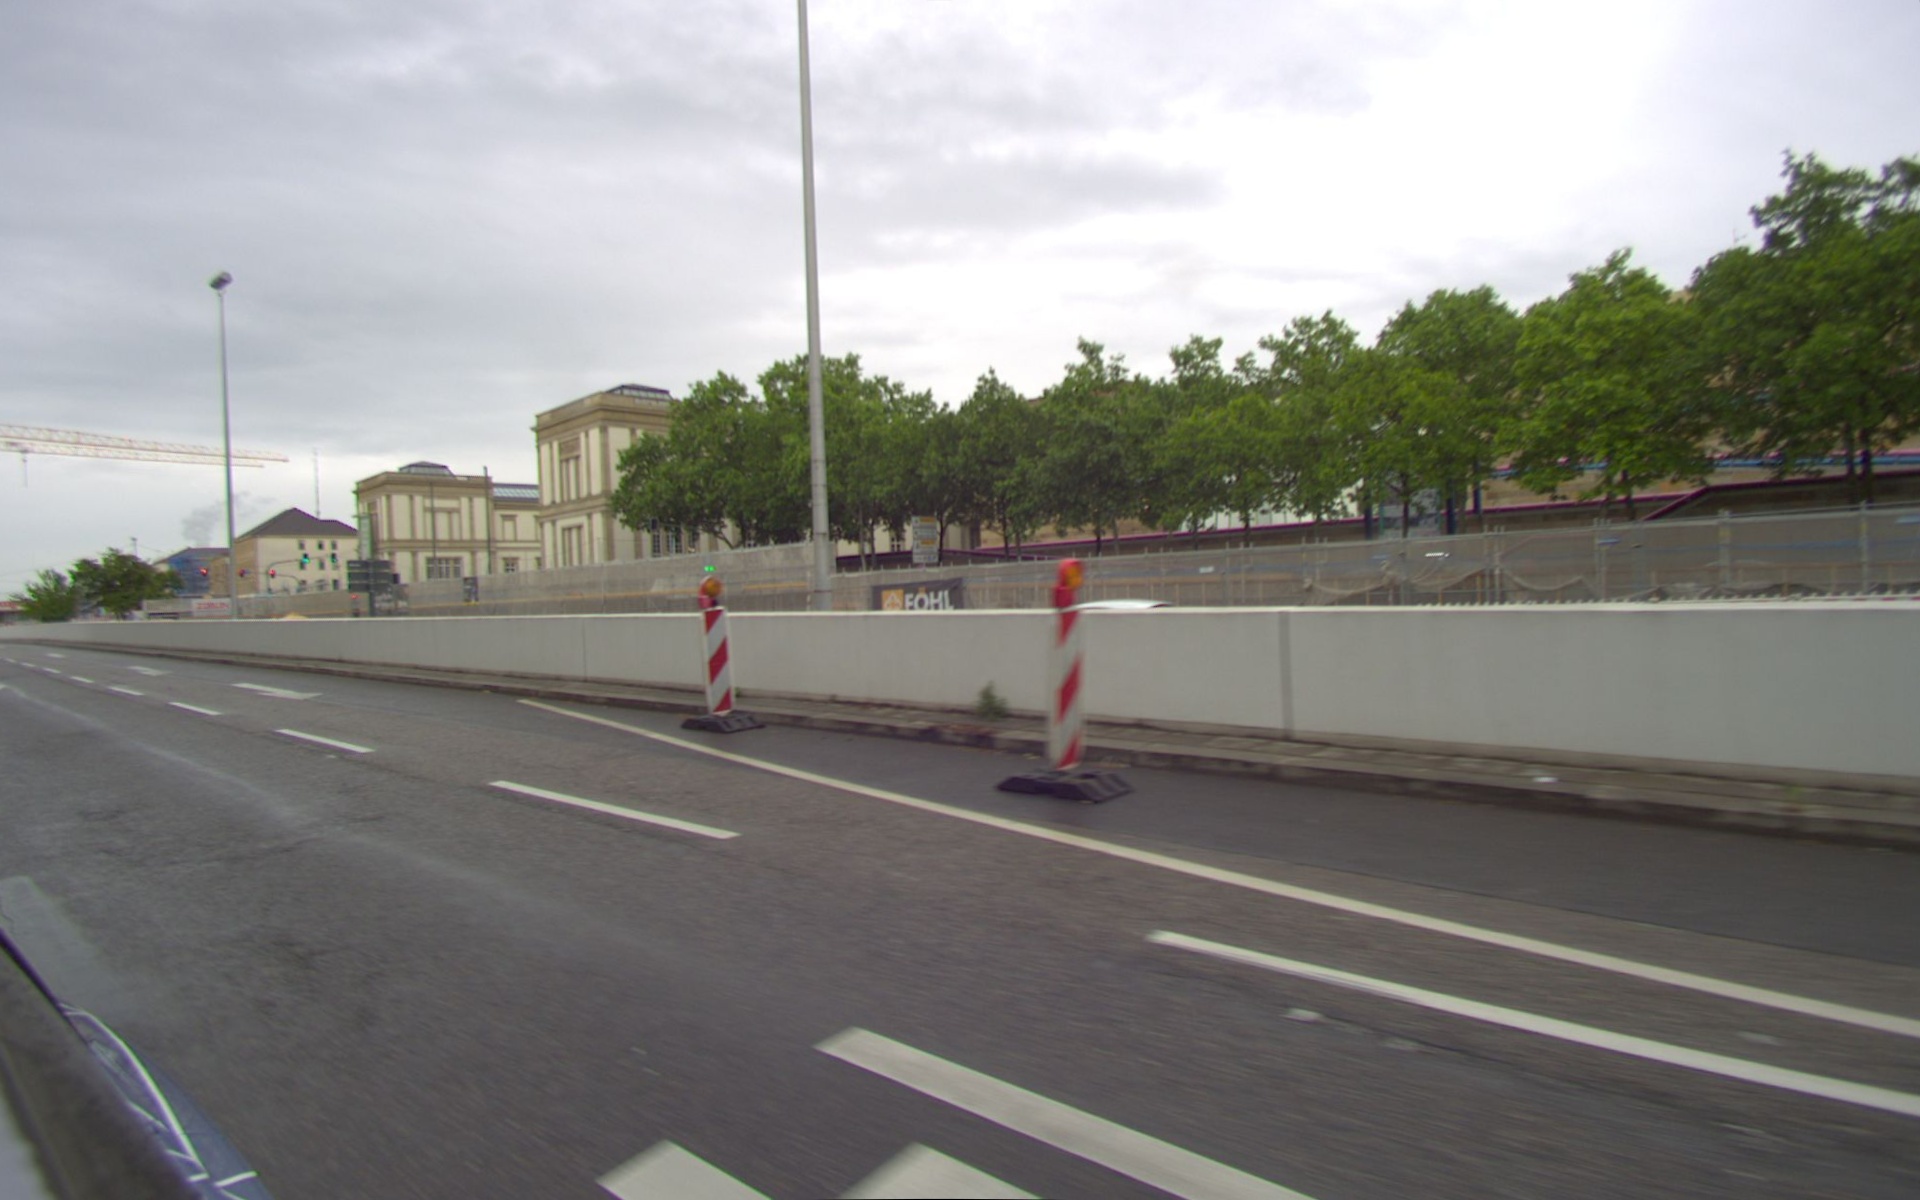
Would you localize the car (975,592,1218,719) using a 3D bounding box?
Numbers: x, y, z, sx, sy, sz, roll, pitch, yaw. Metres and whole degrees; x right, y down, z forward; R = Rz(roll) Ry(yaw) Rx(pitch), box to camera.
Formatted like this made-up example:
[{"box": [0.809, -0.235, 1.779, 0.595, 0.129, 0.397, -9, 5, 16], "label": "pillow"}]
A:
[{"box": [2.405, 0.923, 18.422, 3.999, 2.029, 1.877, -1, 0, 43], "label": "car"}]
